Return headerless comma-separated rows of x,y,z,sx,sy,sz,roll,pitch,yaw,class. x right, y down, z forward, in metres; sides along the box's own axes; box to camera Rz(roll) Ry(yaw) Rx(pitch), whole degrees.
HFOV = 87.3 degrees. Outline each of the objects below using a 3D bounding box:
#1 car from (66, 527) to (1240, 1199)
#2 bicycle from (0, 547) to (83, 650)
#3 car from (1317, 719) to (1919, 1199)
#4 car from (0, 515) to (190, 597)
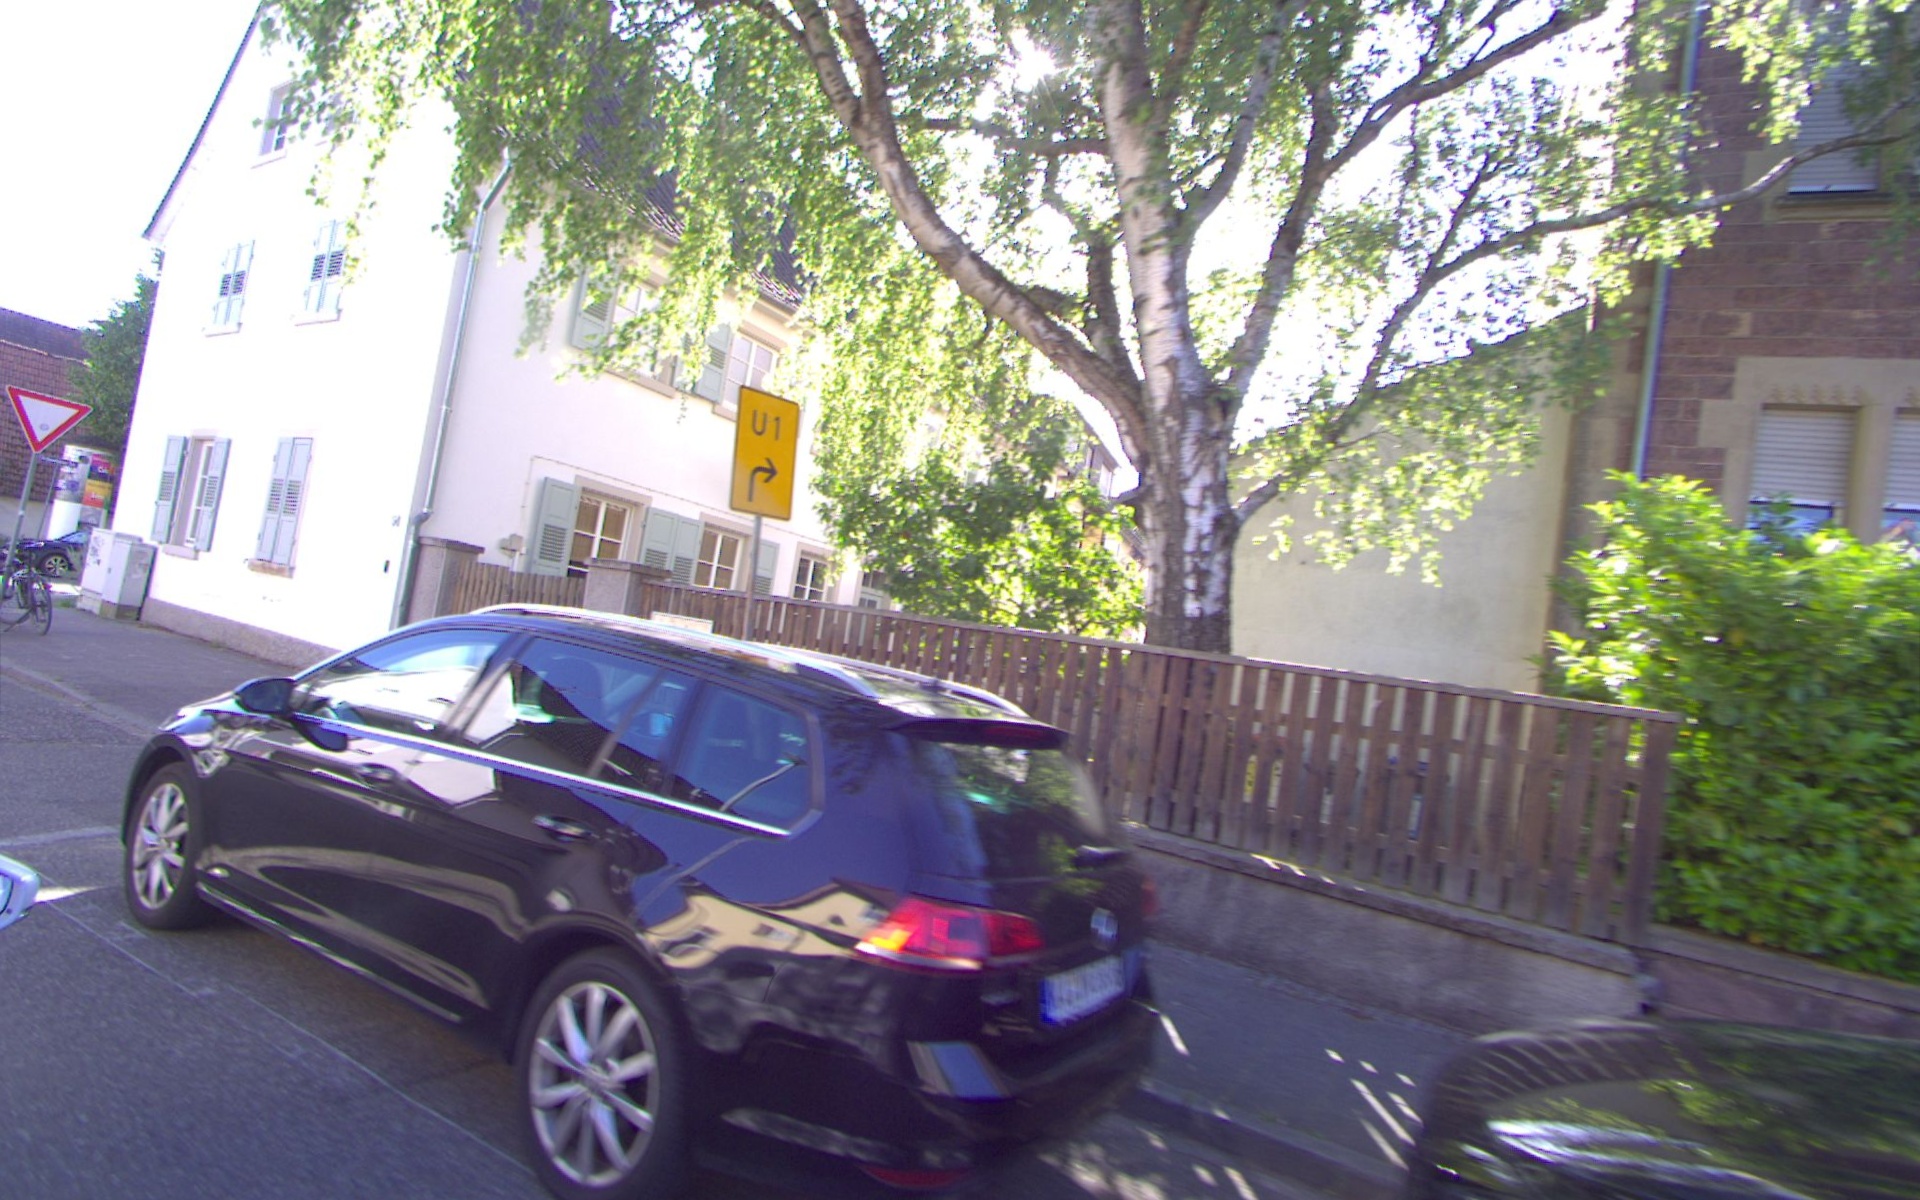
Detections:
-1.373,0.771,3.816,4.215,1.451,1.813,7,-4,33,car
-11.781,-0.052,12.615,1.857,1.091,0.436,7,-2,28,bicycle
2.822,1.287,1.388,4.212,1.451,1.814,8,-4,29,car
-24.536,-1.199,28.392,1.636,1.492,4.005,7,-5,28,car
